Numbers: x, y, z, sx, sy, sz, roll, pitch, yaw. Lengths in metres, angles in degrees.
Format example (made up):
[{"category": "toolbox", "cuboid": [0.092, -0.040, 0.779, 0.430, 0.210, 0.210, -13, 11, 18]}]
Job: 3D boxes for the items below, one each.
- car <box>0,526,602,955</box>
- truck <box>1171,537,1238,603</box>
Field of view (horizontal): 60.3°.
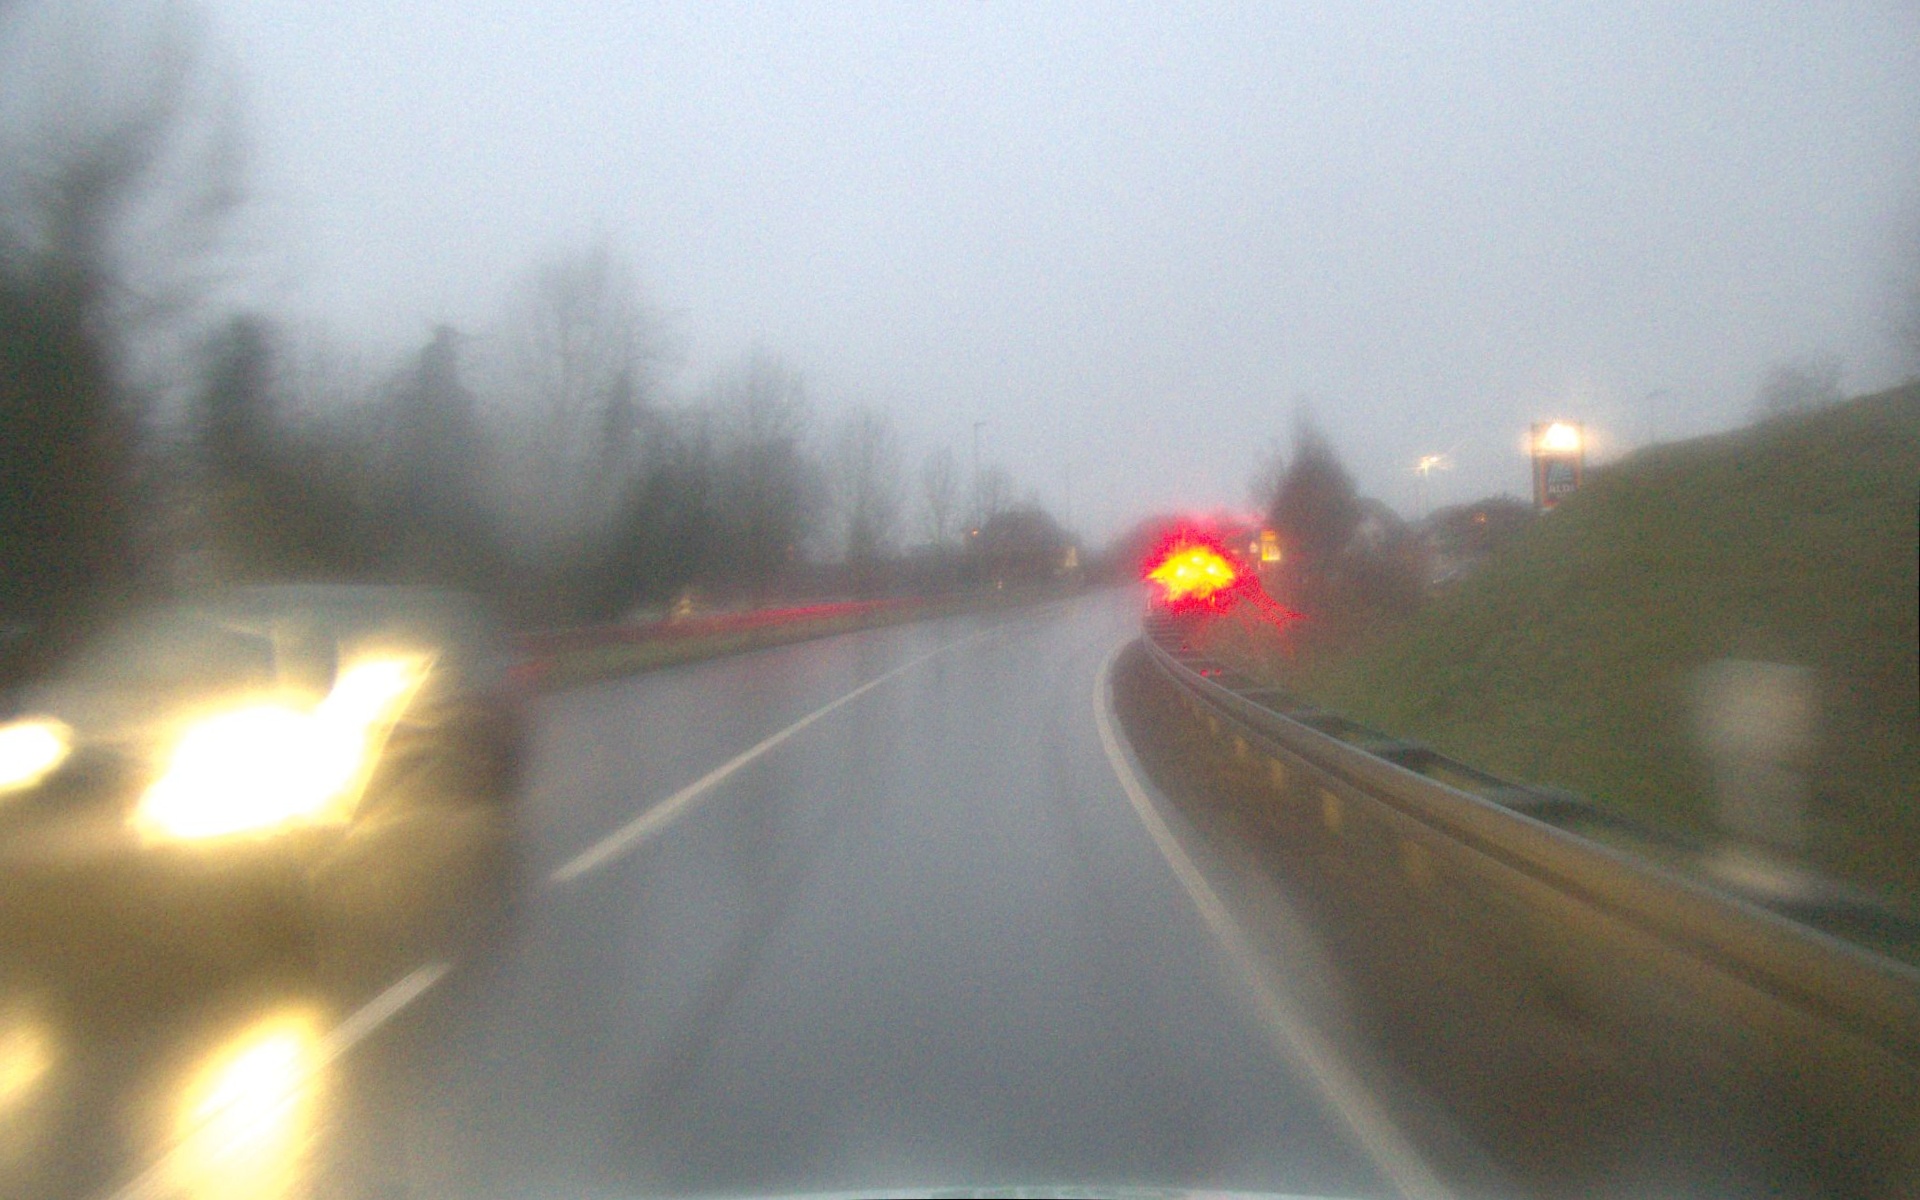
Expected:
[{"category": "car", "cuboid": [-3.486, 0.482, 8.833, 1.952, 1.649, 4.600, 2, 2, 2]}, {"category": "truck", "cuboid": [11.931, -1.508, 80.470, 2.478, 2.918, 5.928, -4, 1, 14]}]
